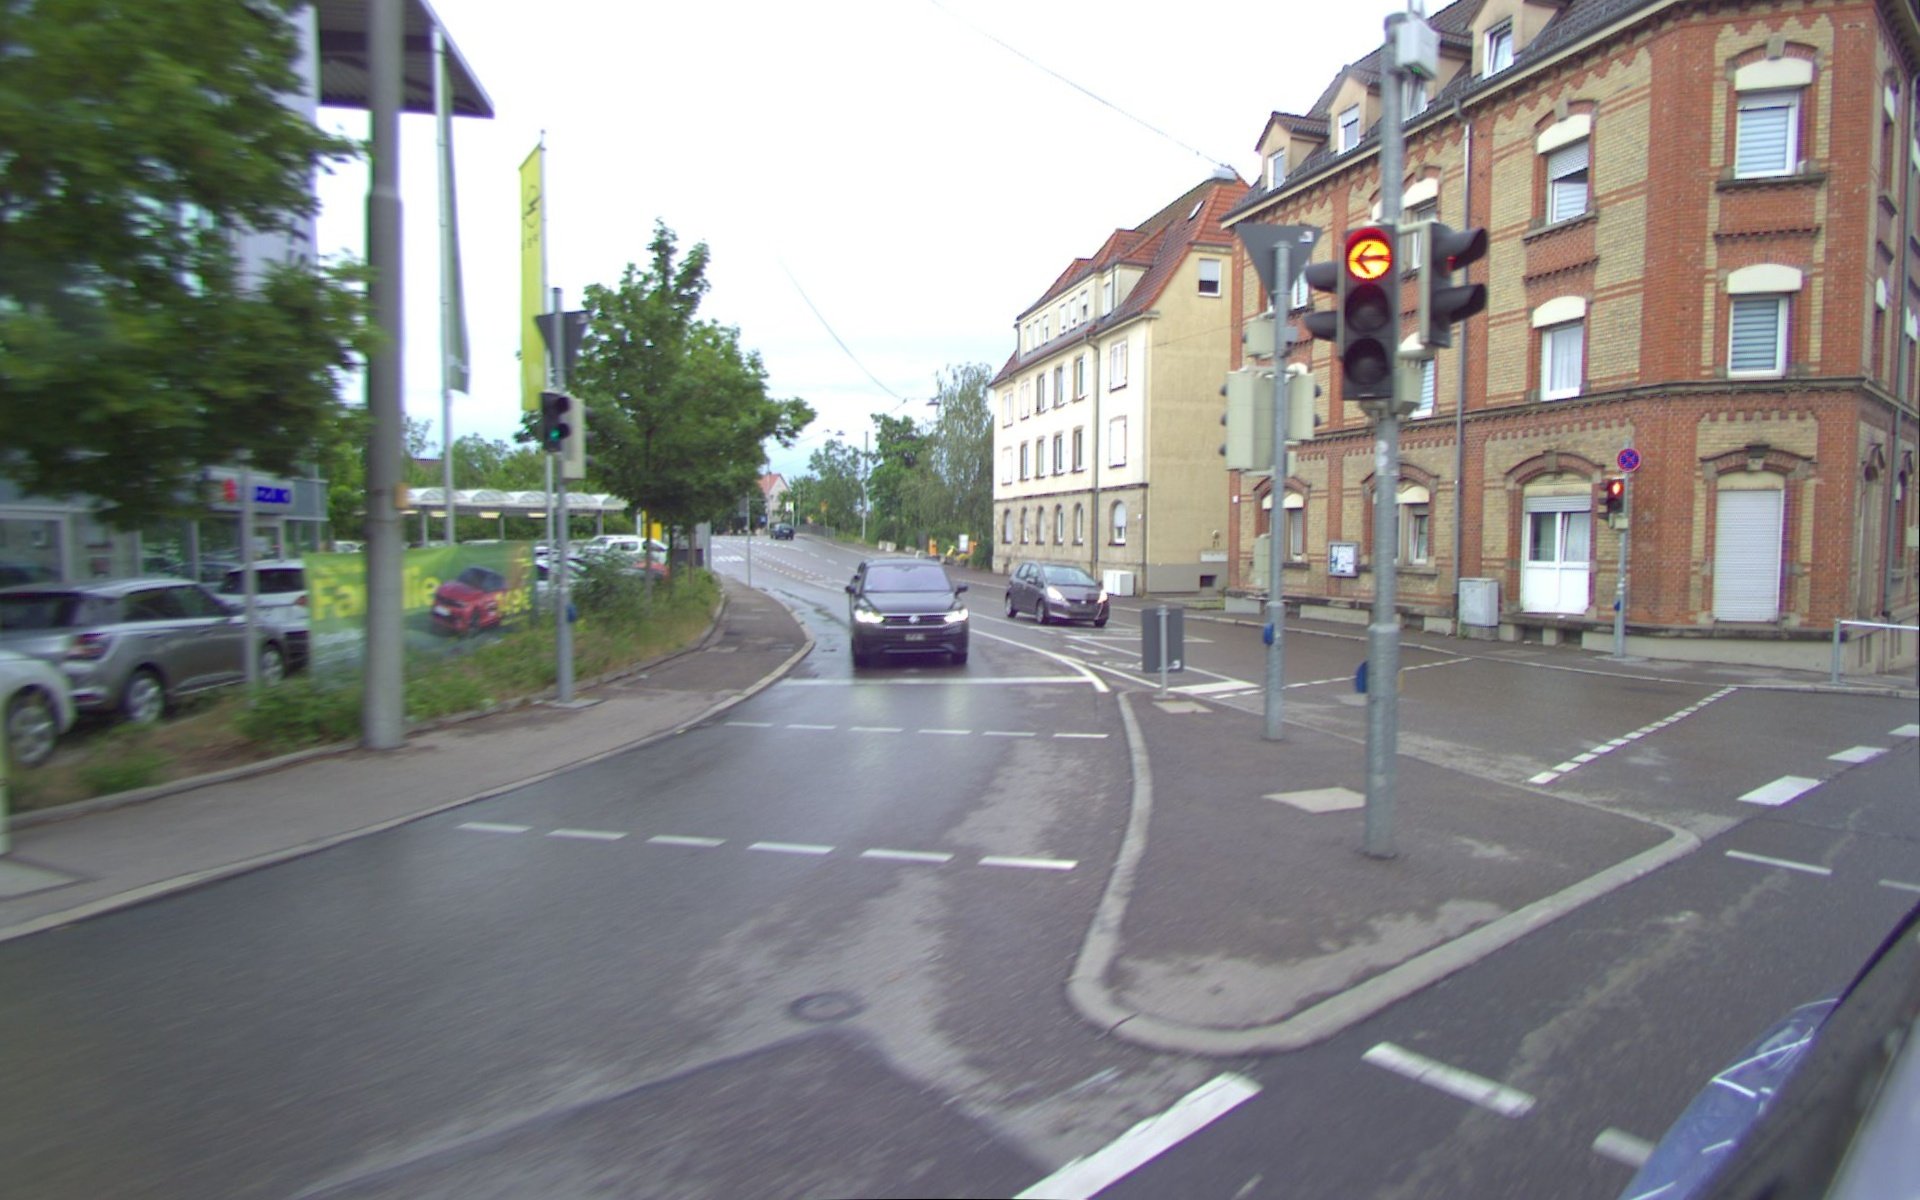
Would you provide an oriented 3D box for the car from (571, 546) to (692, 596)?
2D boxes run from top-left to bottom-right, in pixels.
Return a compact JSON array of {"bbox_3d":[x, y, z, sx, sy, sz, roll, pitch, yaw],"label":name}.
[{"bbox_3d":[-11.687,-1.040,36.257,3.916,1.615,1.727,2,2,-11],"label":"car"}]

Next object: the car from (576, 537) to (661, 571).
[{"bbox_3d":[-16.676,-2.255,49.561,3.733,1.508,1.727,2,2,-11],"label":"car"}]

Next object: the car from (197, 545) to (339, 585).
[{"bbox_3d":[-25.780,-1.320,37.841,3.916,1.323,1.917,2,2,-11],"label":"car"}]

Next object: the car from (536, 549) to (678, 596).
[{"bbox_3d":[-10.751,-0.856,31.075,3.916,1.265,1.727,2,2,-11],"label":"car"}]

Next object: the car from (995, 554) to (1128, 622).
[{"bbox_3d":[2.446,-0.348,25.442,1.805,1.471,4.011,2,2,-18],"label":"car"}]

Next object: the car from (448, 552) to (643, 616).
[{"bbox_3d":[-9.503,-0.385,23.474,3.916,1.288,1.727,2,2,-11],"label":"car"}]

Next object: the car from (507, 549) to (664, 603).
[{"bbox_3d":[-10.466,-0.685,28.542,3.916,1.323,1.727,2,2,-11],"label":"car"}]

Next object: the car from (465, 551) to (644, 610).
[{"bbox_3d":[-10.120,-0.501,25.528,3.916,1.300,1.727,2,2,-11],"label":"car"}]

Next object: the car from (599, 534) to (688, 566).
[{"bbox_3d":[-16.502,-2.606,52.954,4.286,1.508,1.727,2,2,-11],"label":"car"}]

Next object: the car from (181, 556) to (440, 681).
[{"bbox_3d":[-9.609,0.154,15.393,1.788,1.611,4.008,0,3,-8],"label":"car"}]

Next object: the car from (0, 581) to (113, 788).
[{"bbox_3d":[-8.038,0.722,6.846,1.859,1.526,4.009,-2,3,-13],"label":"car"}]

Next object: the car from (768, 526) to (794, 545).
[{"bbox_3d":[-16.841,-6.035,95.196,1.849,1.637,4.010,2,2,-17],"label":"car"}]

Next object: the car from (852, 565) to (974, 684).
[{"bbox_3d":[-0.900,0.300,17.065,1.768,1.683,4.261,1,2,-6],"label":"car"}]

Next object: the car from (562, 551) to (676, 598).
[{"bbox_3d":[-12.962,-0.967,38.653,3.916,1.615,1.727,2,2,-11],"label":"car"}]

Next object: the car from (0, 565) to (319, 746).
[{"bbox_3d":[-8.920,0.429,11.000,1.788,1.548,4.008,0,3,-8],"label":"car"}]

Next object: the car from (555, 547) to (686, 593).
[{"bbox_3d":[-11.209,-1.003,33.671,3.916,1.323,1.727,2,2,-11],"label":"car"}]
